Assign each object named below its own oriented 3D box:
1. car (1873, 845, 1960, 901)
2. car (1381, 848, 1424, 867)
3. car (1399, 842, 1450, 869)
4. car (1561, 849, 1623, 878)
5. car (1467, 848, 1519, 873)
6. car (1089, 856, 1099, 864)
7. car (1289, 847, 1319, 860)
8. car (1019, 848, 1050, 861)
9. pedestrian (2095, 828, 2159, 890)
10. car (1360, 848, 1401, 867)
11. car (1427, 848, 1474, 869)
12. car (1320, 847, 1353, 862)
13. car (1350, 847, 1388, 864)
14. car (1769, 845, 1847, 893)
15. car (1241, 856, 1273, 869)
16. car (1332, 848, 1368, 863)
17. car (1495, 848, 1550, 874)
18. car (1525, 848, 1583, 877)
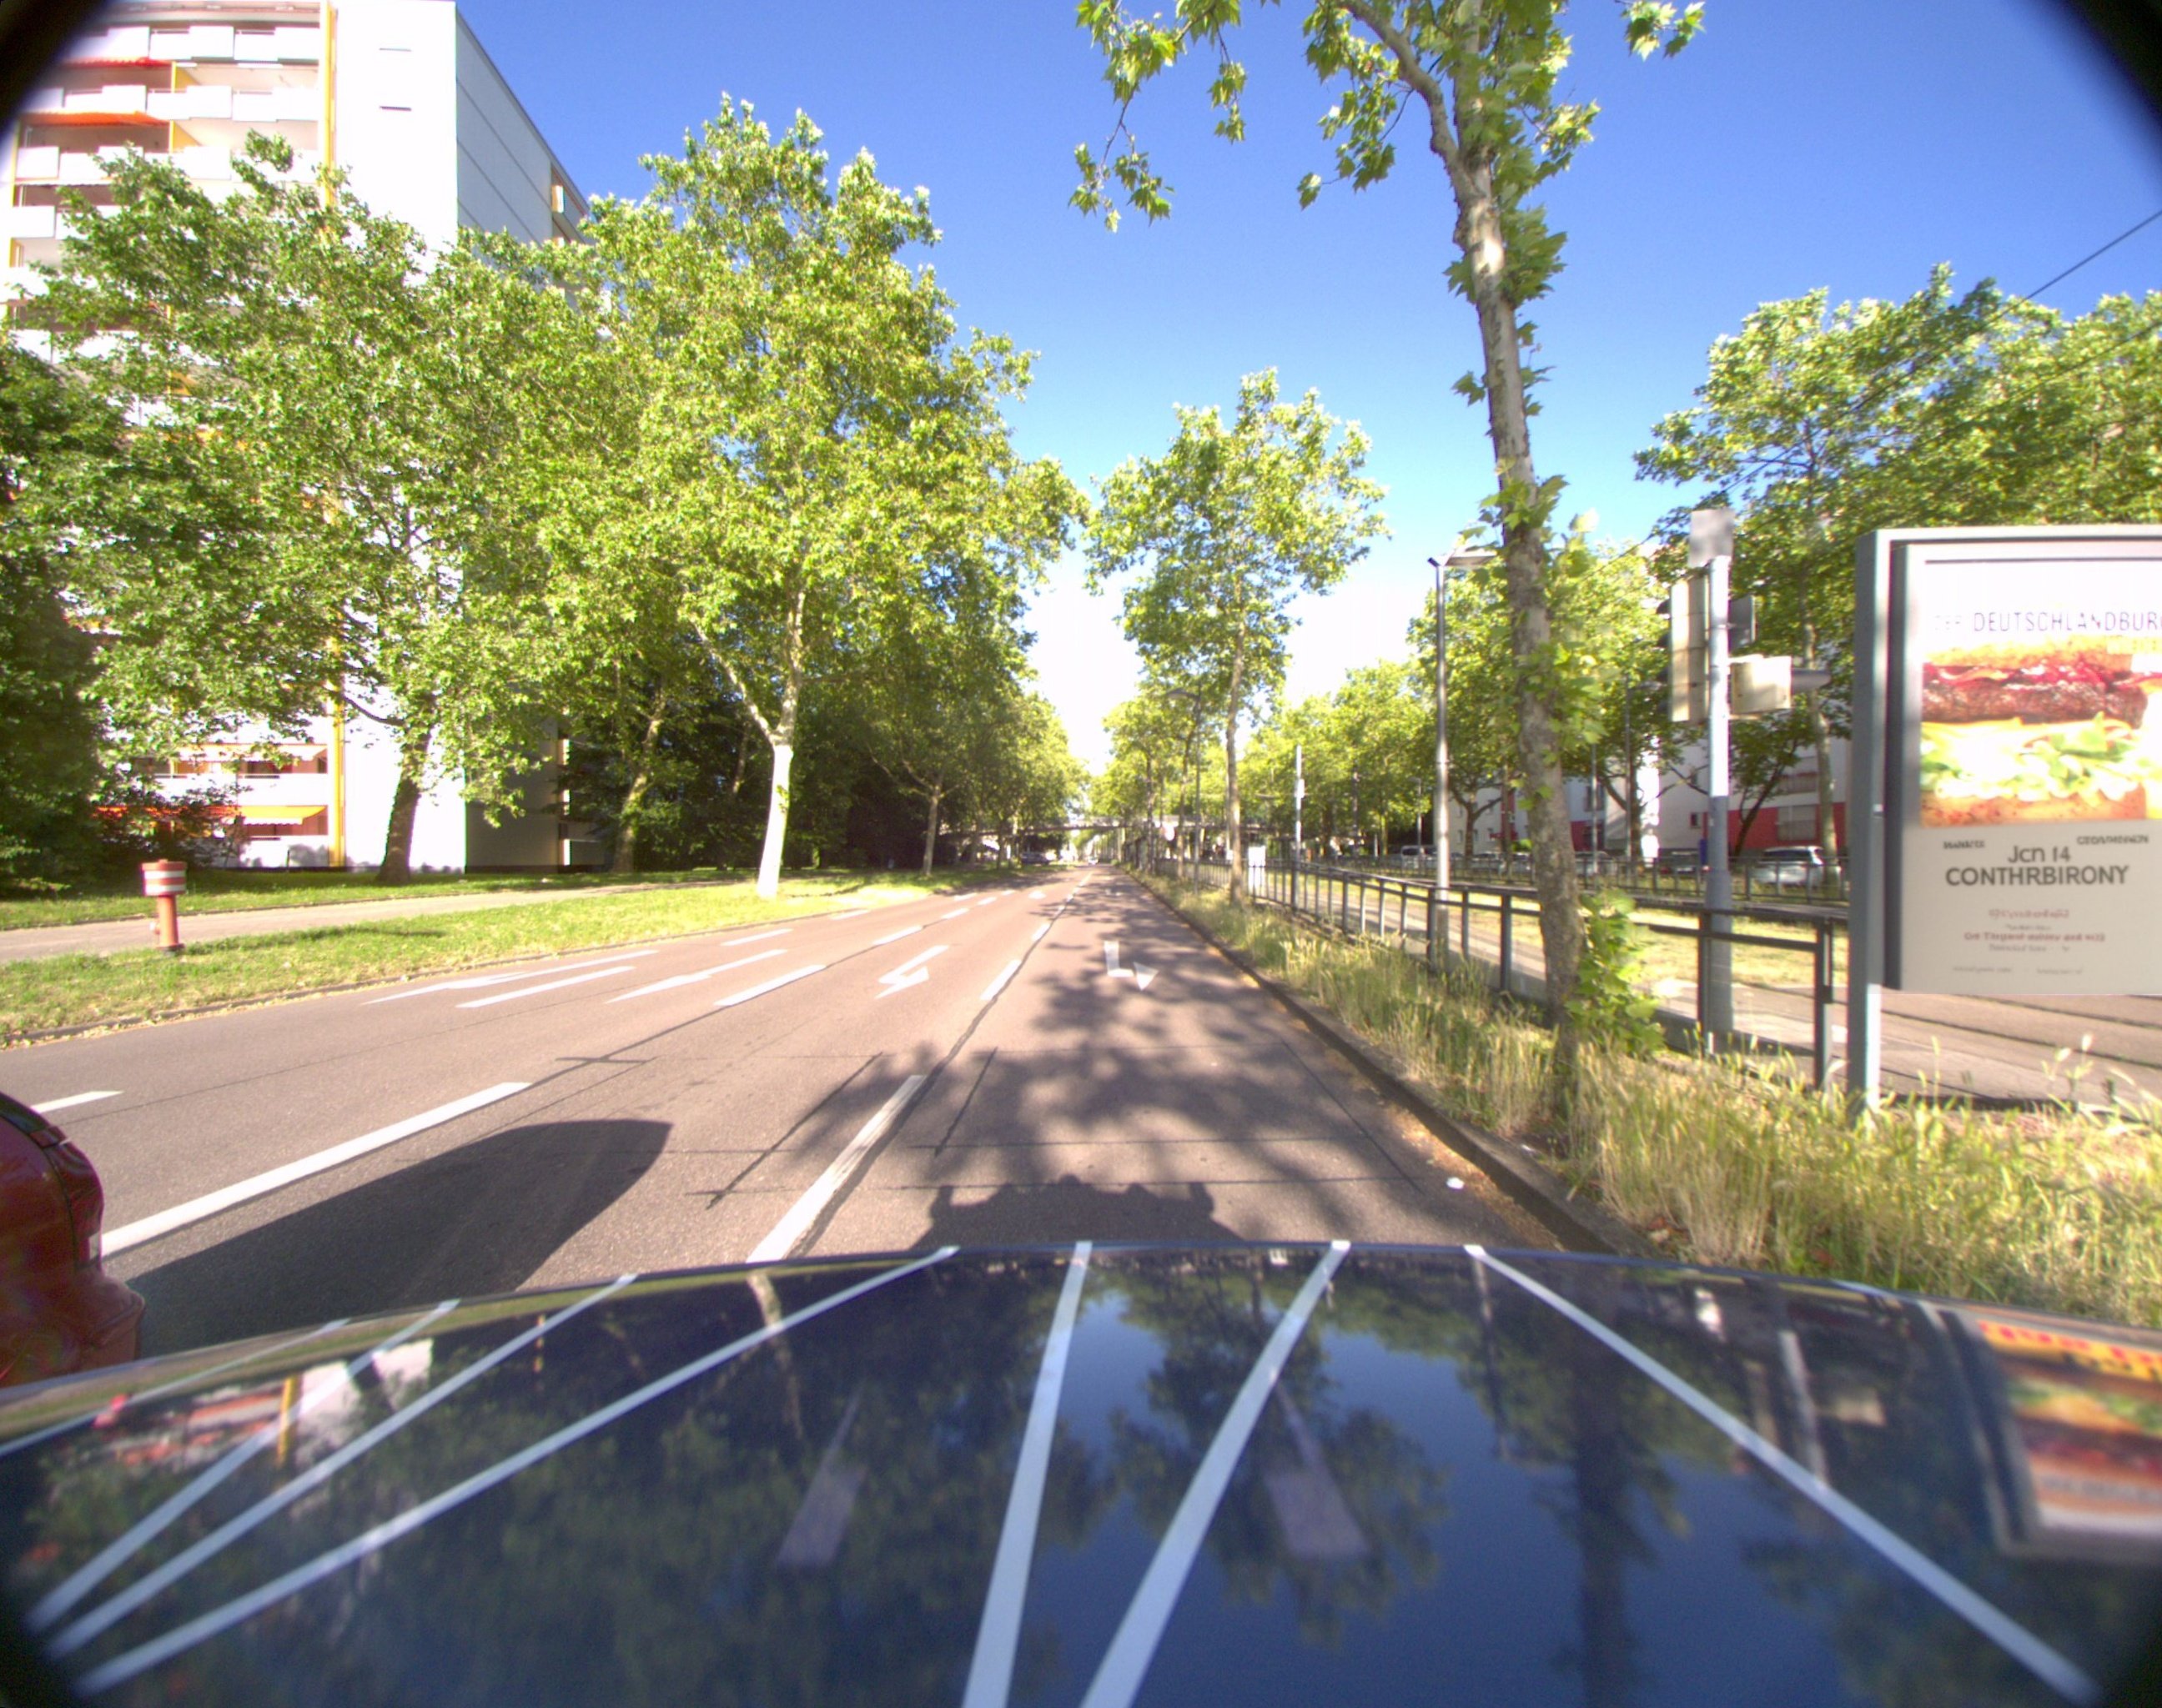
[{"bbox_3d":[25.245,0.527,22.969,3.811,1.501,1.652,-2,0,-42],"label":"car"},{"bbox_3d":[25.730,0.275,60.755,3.811,1.433,1.652,-2,0,-42],"label":"car"},{"bbox_3d":[25.819,0.094,57.033,4.330,1.863,1.836,-2,0,-42],"label":"car"},{"bbox_3d":[25.383,0.452,37.701,3.811,1.348,1.652,-2,0,-42],"label":"car"},{"bbox_3d":[25.852,0.402,47.681,3.811,1.433,1.652,-2,0,-42],"label":"car"},{"bbox_3d":[2.250,1.044,133.307,1.580,1.395,3.638,-2,0,0],"label":"car"},{"bbox_3d":[26.439,-0.041,89.978,3.811,1.433,1.652,-2,0,-42],"label":"car"},{"bbox_3d":[-7.264,0.064,118.952,4.720,1.924,1.906,-2,0,-7],"label":"car"},{"bbox_3d":[30.132,0.138,21.900,0.764,1.723,0.786,-2,1,-1],"label":"pedestrian"},{"bbox_3d":[24.944,0.277,63.212,3.811,1.433,1.652,-2,0,-42],"label":"car"},{"bbox_3d":[26.302,0.315,54.035,3.811,1.433,1.652,-2,0,-42],"label":"car"},{"bbox_3d":[26.786,0.052,79.628,3.811,1.433,1.652,-2,0,-42],"label":"car"},{"bbox_3d":[26.619,0.141,70.136,3.811,1.433,1.652,-2,0,-42],"label":"car"},{"bbox_3d":[25.358,0.493,26.478,3.811,1.501,1.652,-2,0,-42],"label":"car"},{"bbox_3d":[21.821,1.024,94.429,1.658,1.501,4.636,-2,0,-17],"label":"car"},{"bbox_3d":[26.066,0.139,73.568,3.811,1.433,1.652,-2,0,-42],"label":"car"},{"bbox_3d":[26.099,0.411,44.867,3.811,1.433,1.652,-2,0,-42],"label":"car"},{"bbox_3d":[25.864,0.447,41.482,3.811,1.433,1.652,-2,0,-42],"label":"car"}]
